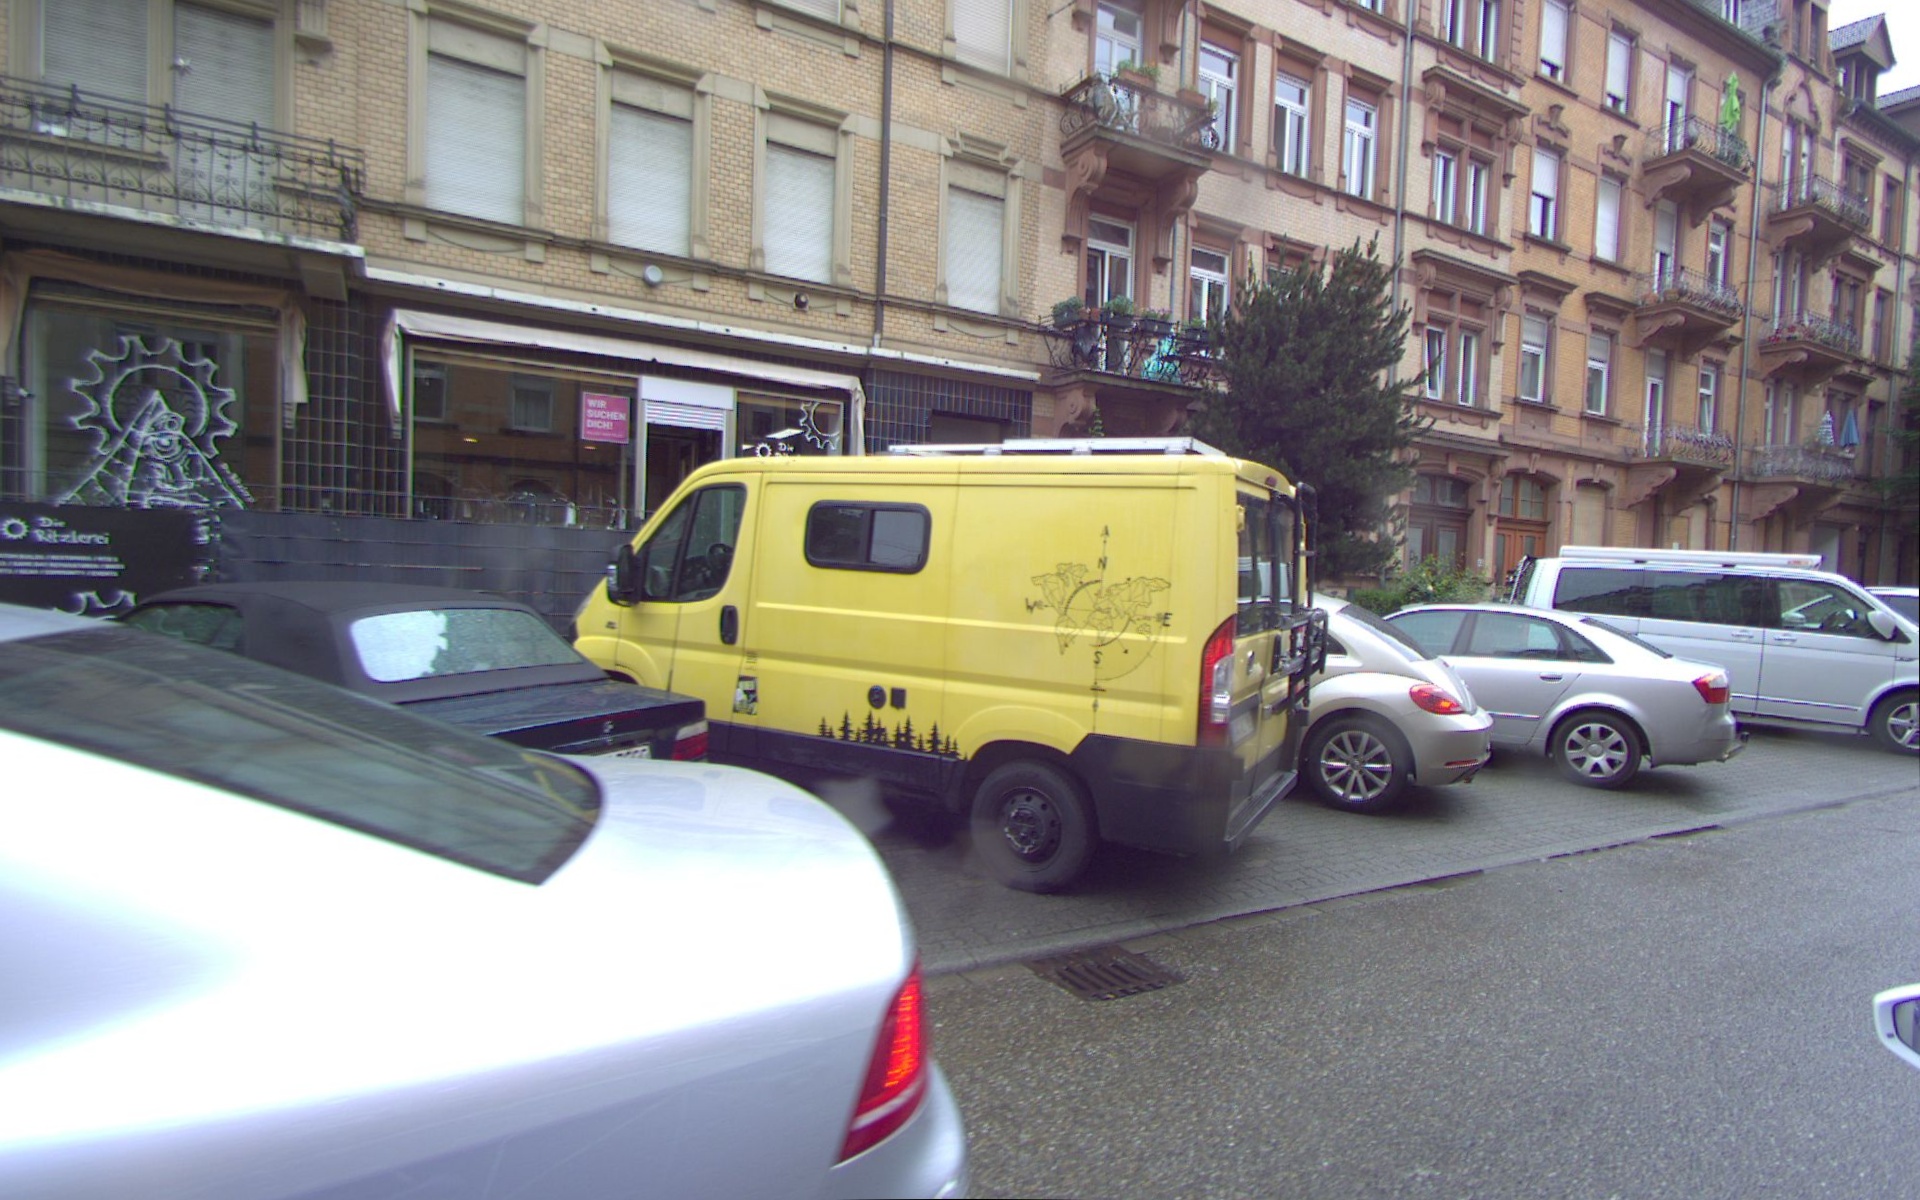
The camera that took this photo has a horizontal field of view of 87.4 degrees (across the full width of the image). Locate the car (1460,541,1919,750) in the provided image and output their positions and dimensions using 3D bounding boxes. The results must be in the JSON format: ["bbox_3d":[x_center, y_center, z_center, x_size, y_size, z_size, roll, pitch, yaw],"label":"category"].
[{"bbox_3d":[9.218,0.436,12.361,5.168,2.106,1.863,4,2,37],"label":"car"}]

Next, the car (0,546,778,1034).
[{"bbox_3d":[-3.010,0.573,4.874,3.928,1.515,1.824,1,0,29],"label":"car"}]

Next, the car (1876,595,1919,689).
[{"bbox_3d":[19.438,0.931,17.809,4.372,1.653,1.838,6,4,35],"label":"car"}]

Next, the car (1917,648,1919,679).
[{"bbox_3d":[21.435,1.045,19.201,4.289,1.525,1.747,5,4,39],"label":"car"}]

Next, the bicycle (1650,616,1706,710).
[{"bbox_3d":[10.313,0.863,14.466,0.400,1.190,2.040,3,2,30],"label":"bicycle"}]

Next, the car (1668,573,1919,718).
[{"bbox_3d":[13.894,0.673,15.135,2.515,1.809,4.556,1,4,-30],"label":"car"}]

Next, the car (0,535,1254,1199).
[{"bbox_3d":[-2.017,0.664,1.002,4.528,1.514,1.786,0,2,-30],"label":"car"}]

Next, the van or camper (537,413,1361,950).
[{"bbox_3d":[-0.163,0.157,6.328,4.641,2.299,2.181,5,4,28],"label":"van or camper"}]

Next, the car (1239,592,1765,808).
[{"bbox_3d":[4.847,0.754,9.394,3.931,1.455,1.780,3,2,32],"label":"car"}]

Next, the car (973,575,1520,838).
[{"bbox_3d":[2.277,0.649,8.126,3.849,1.515,1.959,3,2,30],"label":"car"}]

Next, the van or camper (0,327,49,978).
[{"bbox_3d":[-5.483,0.014,3.677,4.010,2.269,1.934,6,3,29],"label":"van or camper"}]

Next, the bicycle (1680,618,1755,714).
[{"bbox_3d":[10.654,0.887,14.182,0.534,1.190,2.040,3,2,30],"label":"bicycle"}]
